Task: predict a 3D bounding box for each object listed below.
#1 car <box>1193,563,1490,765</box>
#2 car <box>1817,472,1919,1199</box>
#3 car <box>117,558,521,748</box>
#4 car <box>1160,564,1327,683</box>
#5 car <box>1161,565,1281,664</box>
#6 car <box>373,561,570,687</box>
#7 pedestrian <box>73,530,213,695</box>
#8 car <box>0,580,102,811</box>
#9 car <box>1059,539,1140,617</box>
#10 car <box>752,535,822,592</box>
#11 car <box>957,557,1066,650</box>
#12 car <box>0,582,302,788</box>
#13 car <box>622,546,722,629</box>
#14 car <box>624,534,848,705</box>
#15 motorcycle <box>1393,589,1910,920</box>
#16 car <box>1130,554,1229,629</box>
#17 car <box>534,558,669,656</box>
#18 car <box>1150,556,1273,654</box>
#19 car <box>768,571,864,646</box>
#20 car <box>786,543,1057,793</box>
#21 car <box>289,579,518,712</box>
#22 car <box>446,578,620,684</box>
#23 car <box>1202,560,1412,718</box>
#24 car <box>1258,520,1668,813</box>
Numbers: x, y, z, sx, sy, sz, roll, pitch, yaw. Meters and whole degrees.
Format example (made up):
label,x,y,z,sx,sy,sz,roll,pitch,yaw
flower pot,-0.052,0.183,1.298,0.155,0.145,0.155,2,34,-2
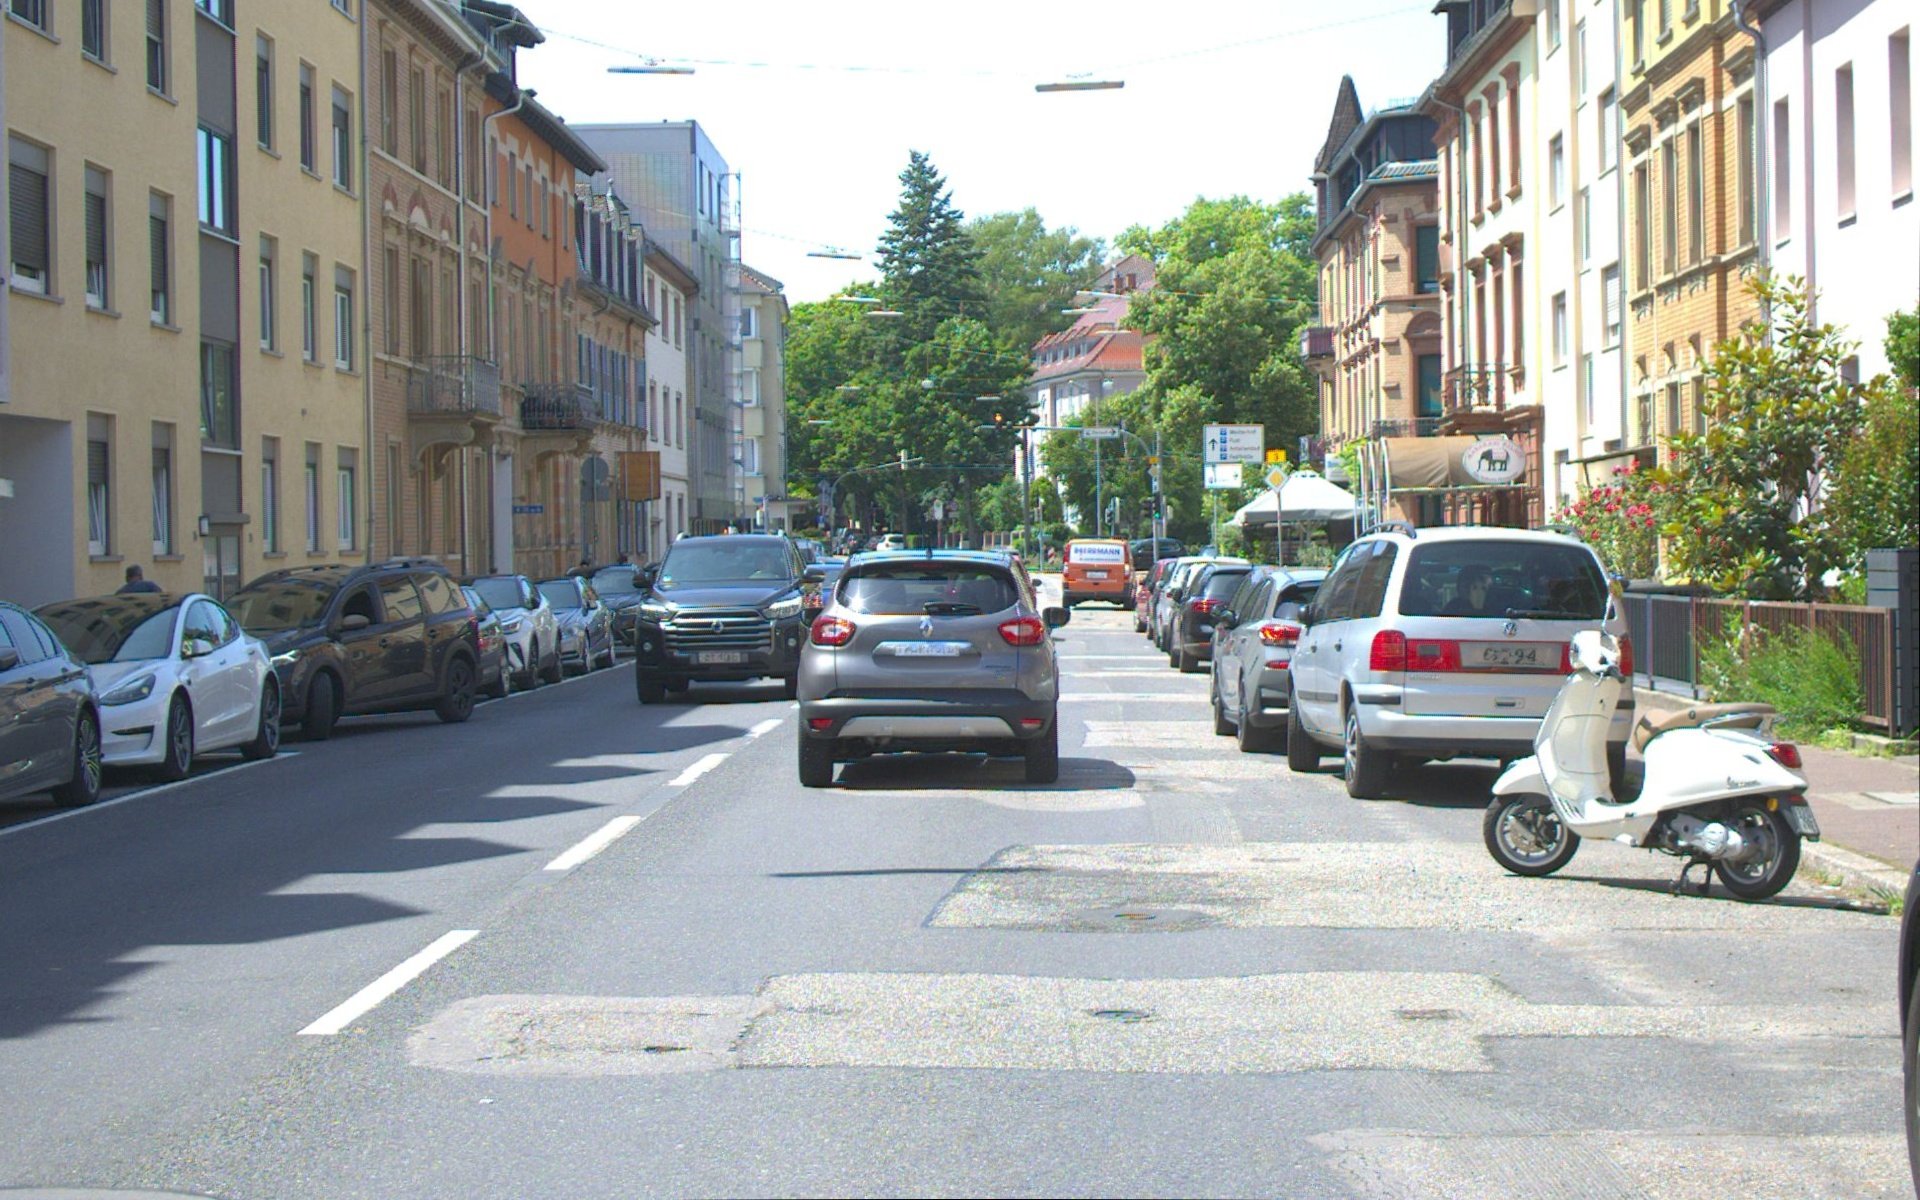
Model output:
label,x,y,z,sx,sy,sz,roll,pitch,yaw
car,3.069,0.465,28.491,1.860,1.482,4.310,1,1,-1
car,3.005,0.559,5.717,1.993,1.656,4.625,-1,1,0
car,-6.206,0.475,33.894,1.906,1.632,4.554,-2,1,18
car,3.794,0.277,46.692,1.860,1.460,4.618,1,1,0
car,4.035,0.203,53.633,1.660,1.436,4.000,1,1,2
car,-6.416,0.274,45.562,1.905,1.505,4.302,-3,1,0
pedestrian,-8.756,0.126,36.893,1.152,1.744,0.969,-1,1,10
car,-6.864,0.627,21.657,1.839,1.418,4.646,-3,0,-2
car,3.818,-0.623,93.354,1.994,2.007,4.465,-1,1,4
car,-5.642,-1.208,112.628,1.905,1.815,4.302,-1,1,2
car,0.925,0.047,63.856,1.812,1.615,4.442,-2,1,-1
car,-6.697,0.630,27.438,1.840,1.417,4.558,-3,0,1
car,-6.032,-0.271,72.282,1.904,1.614,4.303,-3,1,-3
car,-2.478,0.174,39.328,1.994,1.786,5.148,-1,1,2
motorcycle,3.100,0.645,15.479,1.994,1.381,1.110,0,0,39
car,4.322,-0.182,67.996,1.611,1.438,3.437,0,1,-2
car,-6.348,0.093,61.306,1.904,1.614,4.302,-3,1,0
car,4.190,0.053,57.756,1.860,1.548,4.000,1,1,2
car,-2.800,0.142,67.510,1.816,1.384,4.000,-1,1,-2
car,-0.231,0.418,24.218,1.744,1.611,4.000,0,1,0
car,-6.467,0.491,40.374,1.905,1.375,4.061,-2,1,1
car,-6.331,0.426,51.483,1.905,1.396,4.755,-2,1,1
car,3.538,0.353,35.777,1.695,1.482,4.618,1,1,0
car,3.261,0.369,23.199,1.860,1.742,4.619,1,1,-2
